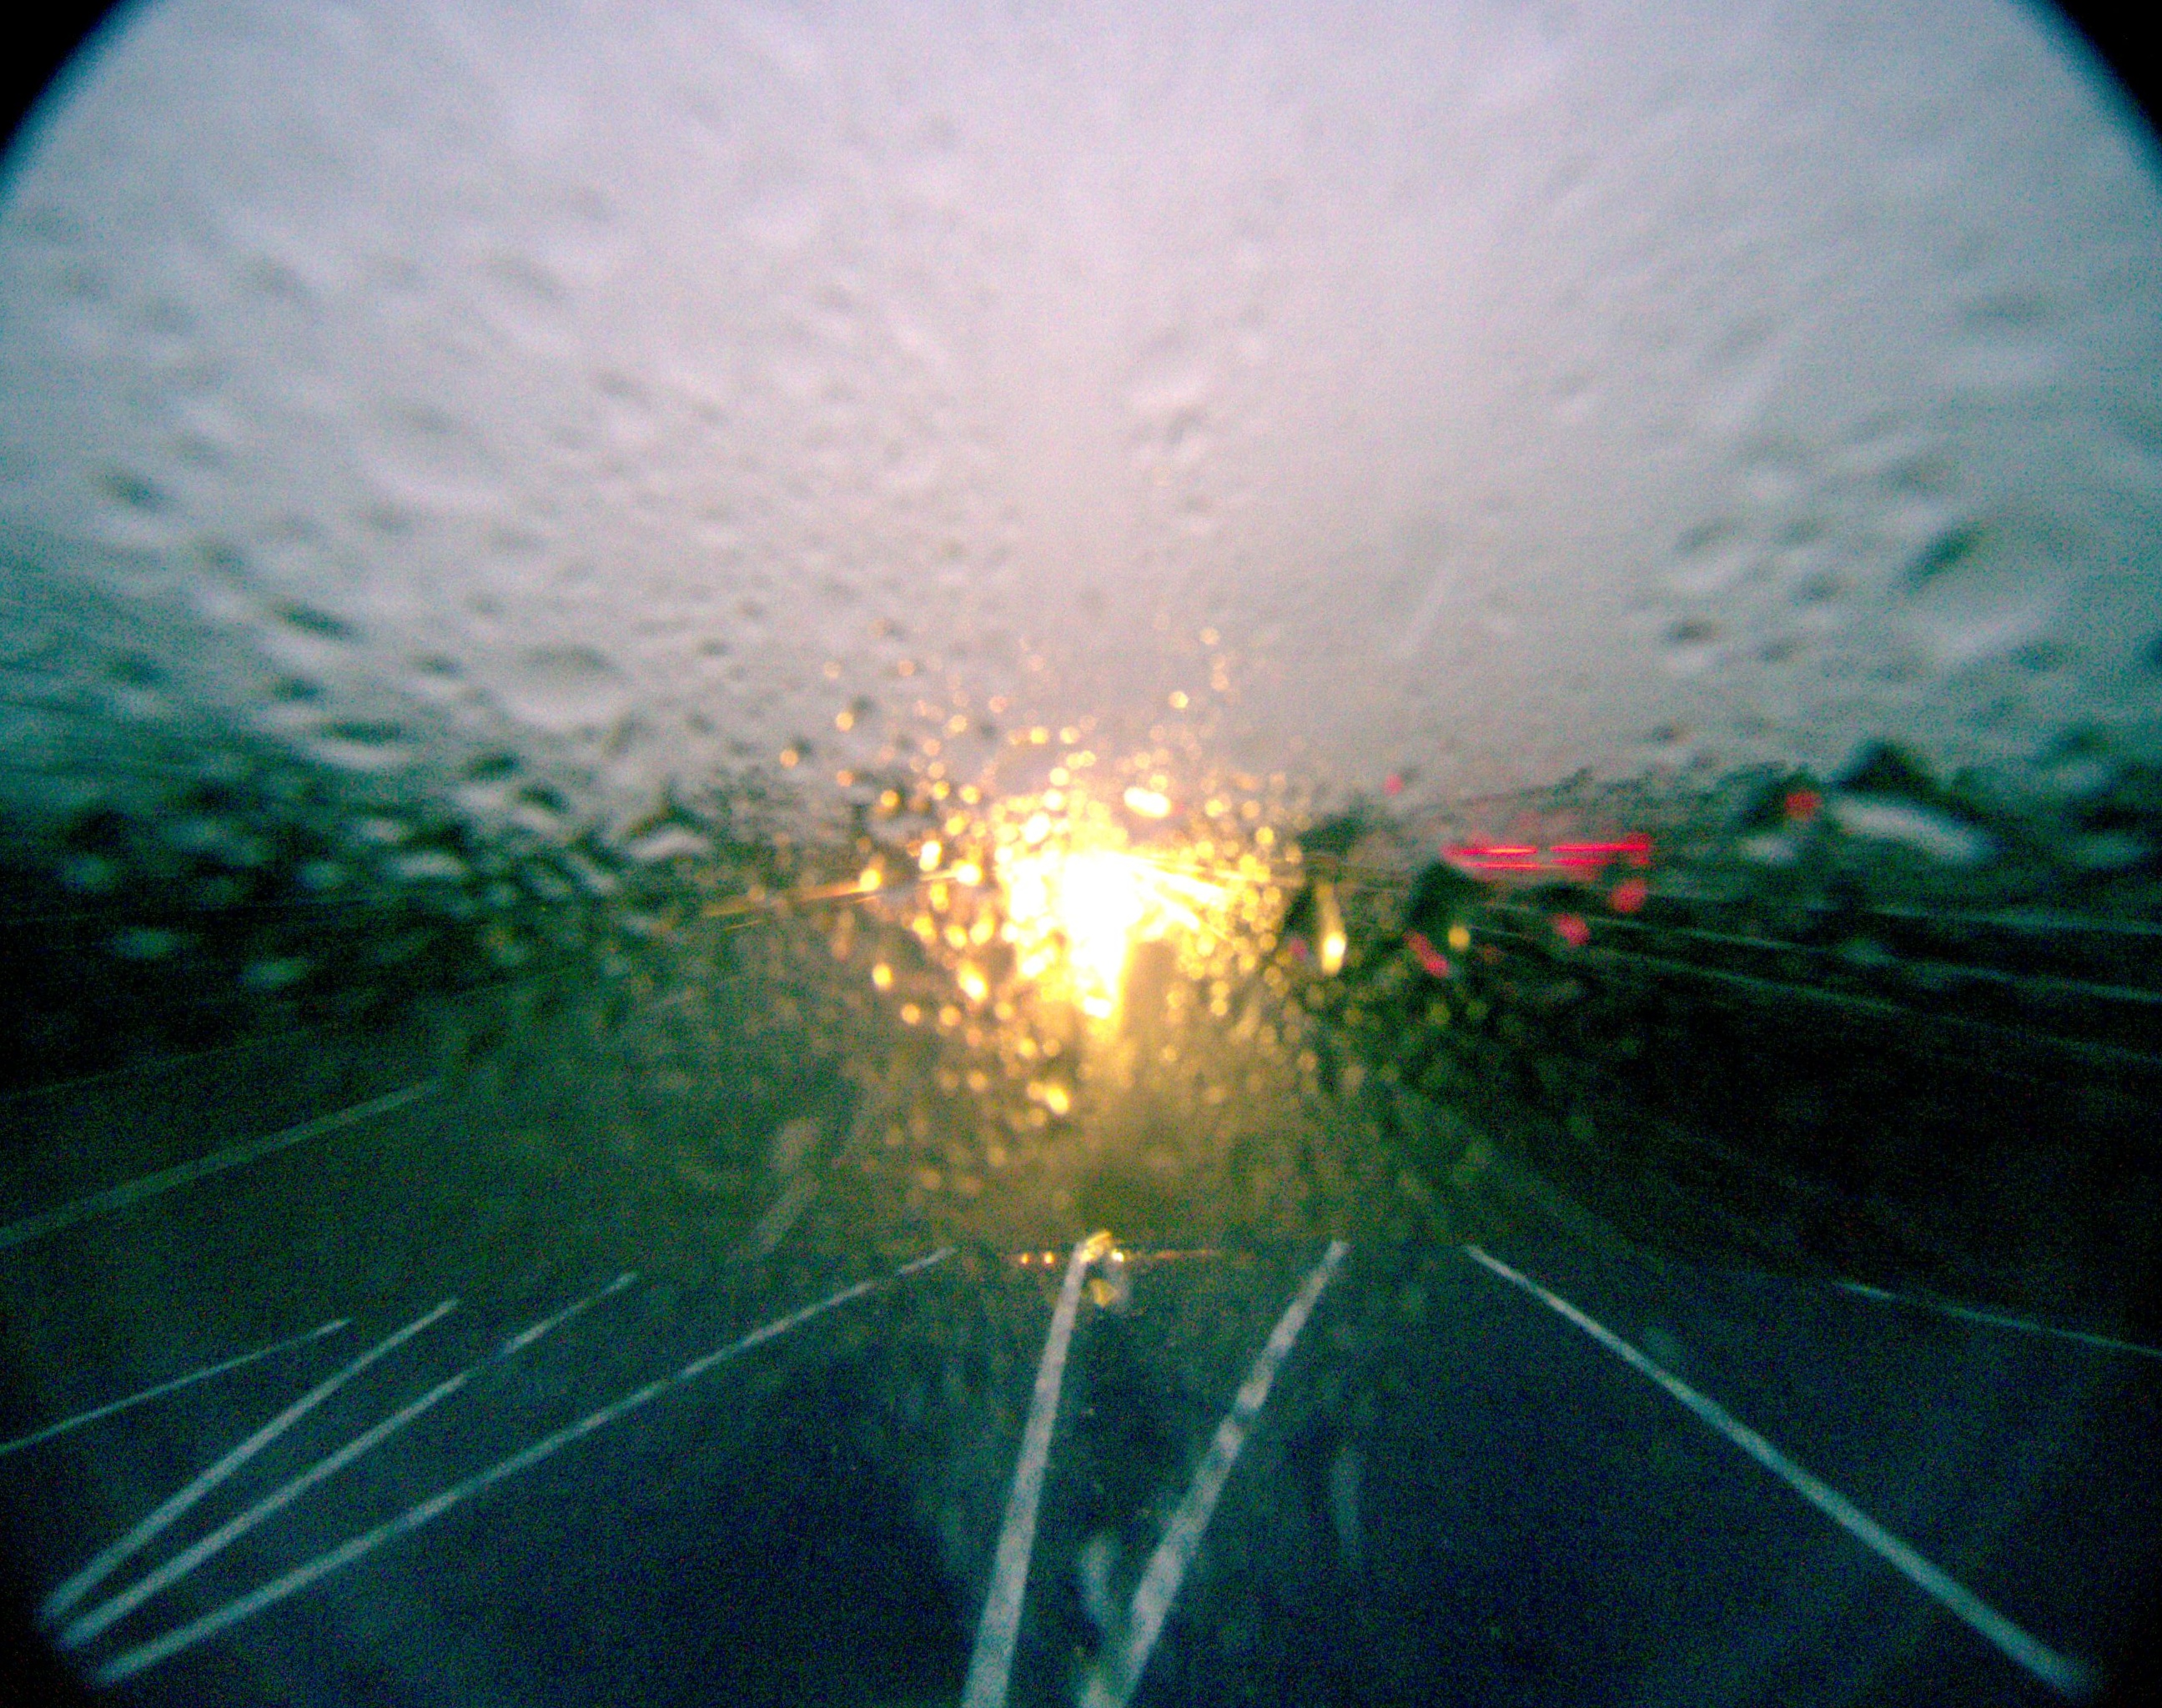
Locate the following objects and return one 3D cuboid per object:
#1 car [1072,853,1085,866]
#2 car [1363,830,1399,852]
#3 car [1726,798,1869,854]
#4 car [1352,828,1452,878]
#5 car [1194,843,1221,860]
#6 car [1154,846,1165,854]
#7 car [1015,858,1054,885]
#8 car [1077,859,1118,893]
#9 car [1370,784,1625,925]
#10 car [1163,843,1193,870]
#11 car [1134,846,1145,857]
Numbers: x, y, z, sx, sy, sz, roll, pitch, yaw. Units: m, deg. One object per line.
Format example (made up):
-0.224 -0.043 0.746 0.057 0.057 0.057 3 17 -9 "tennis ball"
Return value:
-0.369 0.926 130.672 1.998 2.002 4.000 -3 1 1 "car"
29.703 -1.270 75.408 1.998 2.002 4.000 -3 0 1 "car"
28.662 -1.098 30.589 1.998 2.002 3.999 -3 1 1 "car"
11.821 -0.014 28.313 1.840 1.626 4.545 -2 0 1 "car"
12.857 -0.310 77.625 1.998 1.587 4.656 -3 0 1 "car"
16.486 -0.907 159.392 1.860 1.557 3.923 -2 0 1 "car"
-2.778 1.058 46.621 1.850 1.521 4.150 -2 0 3 "car"
0.848 1.025 37.559 1.850 1.521 4.149 -2 0 2 "car"
7.446 0.025 14.376 1.998 2.123 5.199 -2 0 1 "car"
8.486 0.264 67.157 1.998 2.201 5.054 -3 -1 1 "car"
12.589 -0.574 163.808 2.086 2.135 4.462 -3 0 4 "car"
